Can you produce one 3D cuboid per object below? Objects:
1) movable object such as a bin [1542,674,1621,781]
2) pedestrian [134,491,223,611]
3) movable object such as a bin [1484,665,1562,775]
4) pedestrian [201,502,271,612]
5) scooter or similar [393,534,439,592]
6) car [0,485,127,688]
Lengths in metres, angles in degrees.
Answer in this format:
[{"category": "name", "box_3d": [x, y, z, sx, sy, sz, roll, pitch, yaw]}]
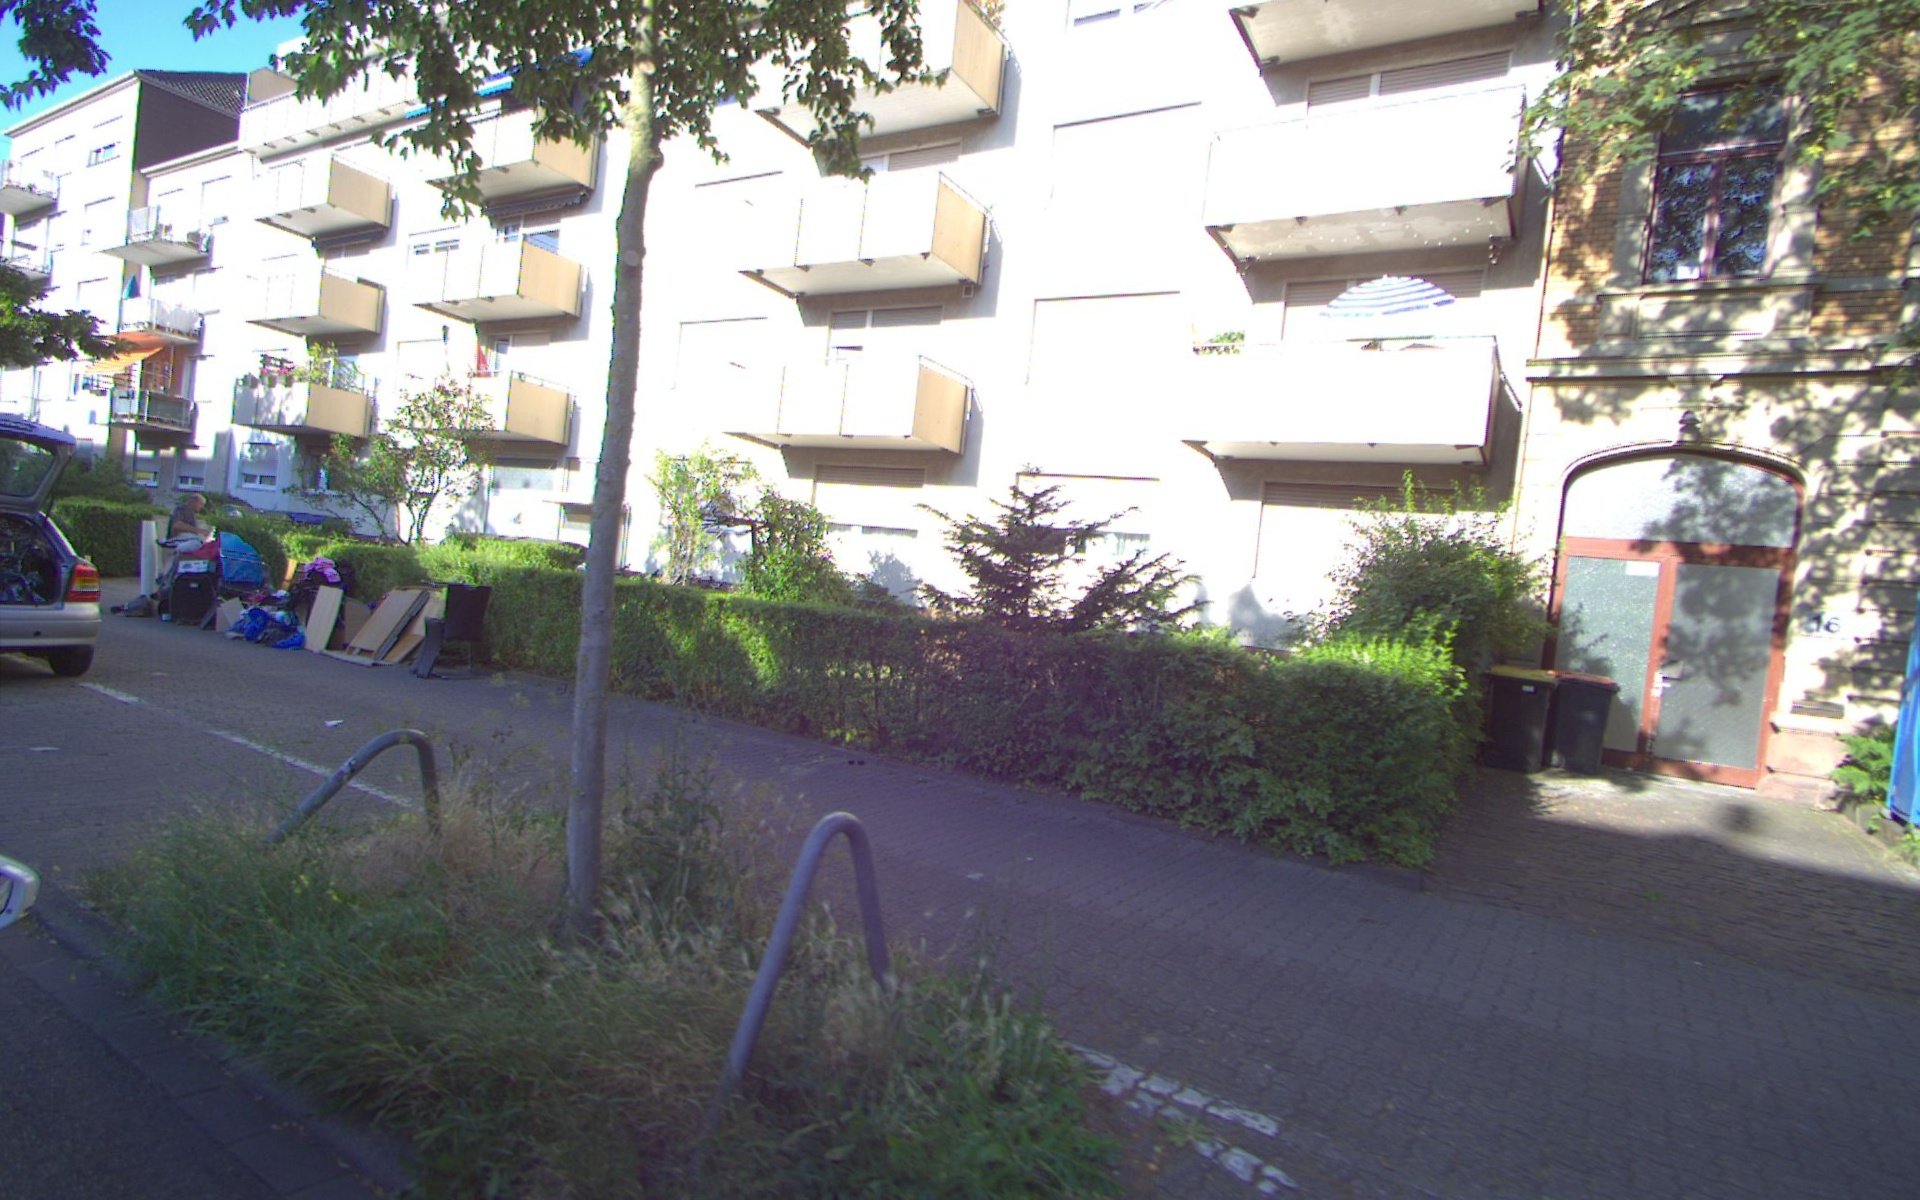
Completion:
[{"category": "movable object such as a bin", "box_3d": [6.847, 1.388, 11.104, 0.611, 1.072, 0.452, 7, 1, 30]}, {"category": "pedestrian", "box_3d": [-11.597, -0.712, 14.952, 0.747, 1.660, 0.692, 6, 1, -22]}, {"category": "movable object such as a bin", "box_3d": [5.989, 1.260, 10.712, 0.611, 1.072, 0.408, 7, 1, 30]}, {"category": "pedestrian", "box_3d": [-10.887, -0.642, 15.142, 0.585, 1.560, 0.692, 6, 1, -21]}, {"category": "scooter or similar", "box_3d": [-13.035, -0.880, 24.102, 0.658, 1.288, 0.615, 7, 1, 32]}, {"category": "car", "box_3d": [-8.914, -0.292, 8.421, 4.197, 1.500, 1.708, 6, 2, 32]}]
